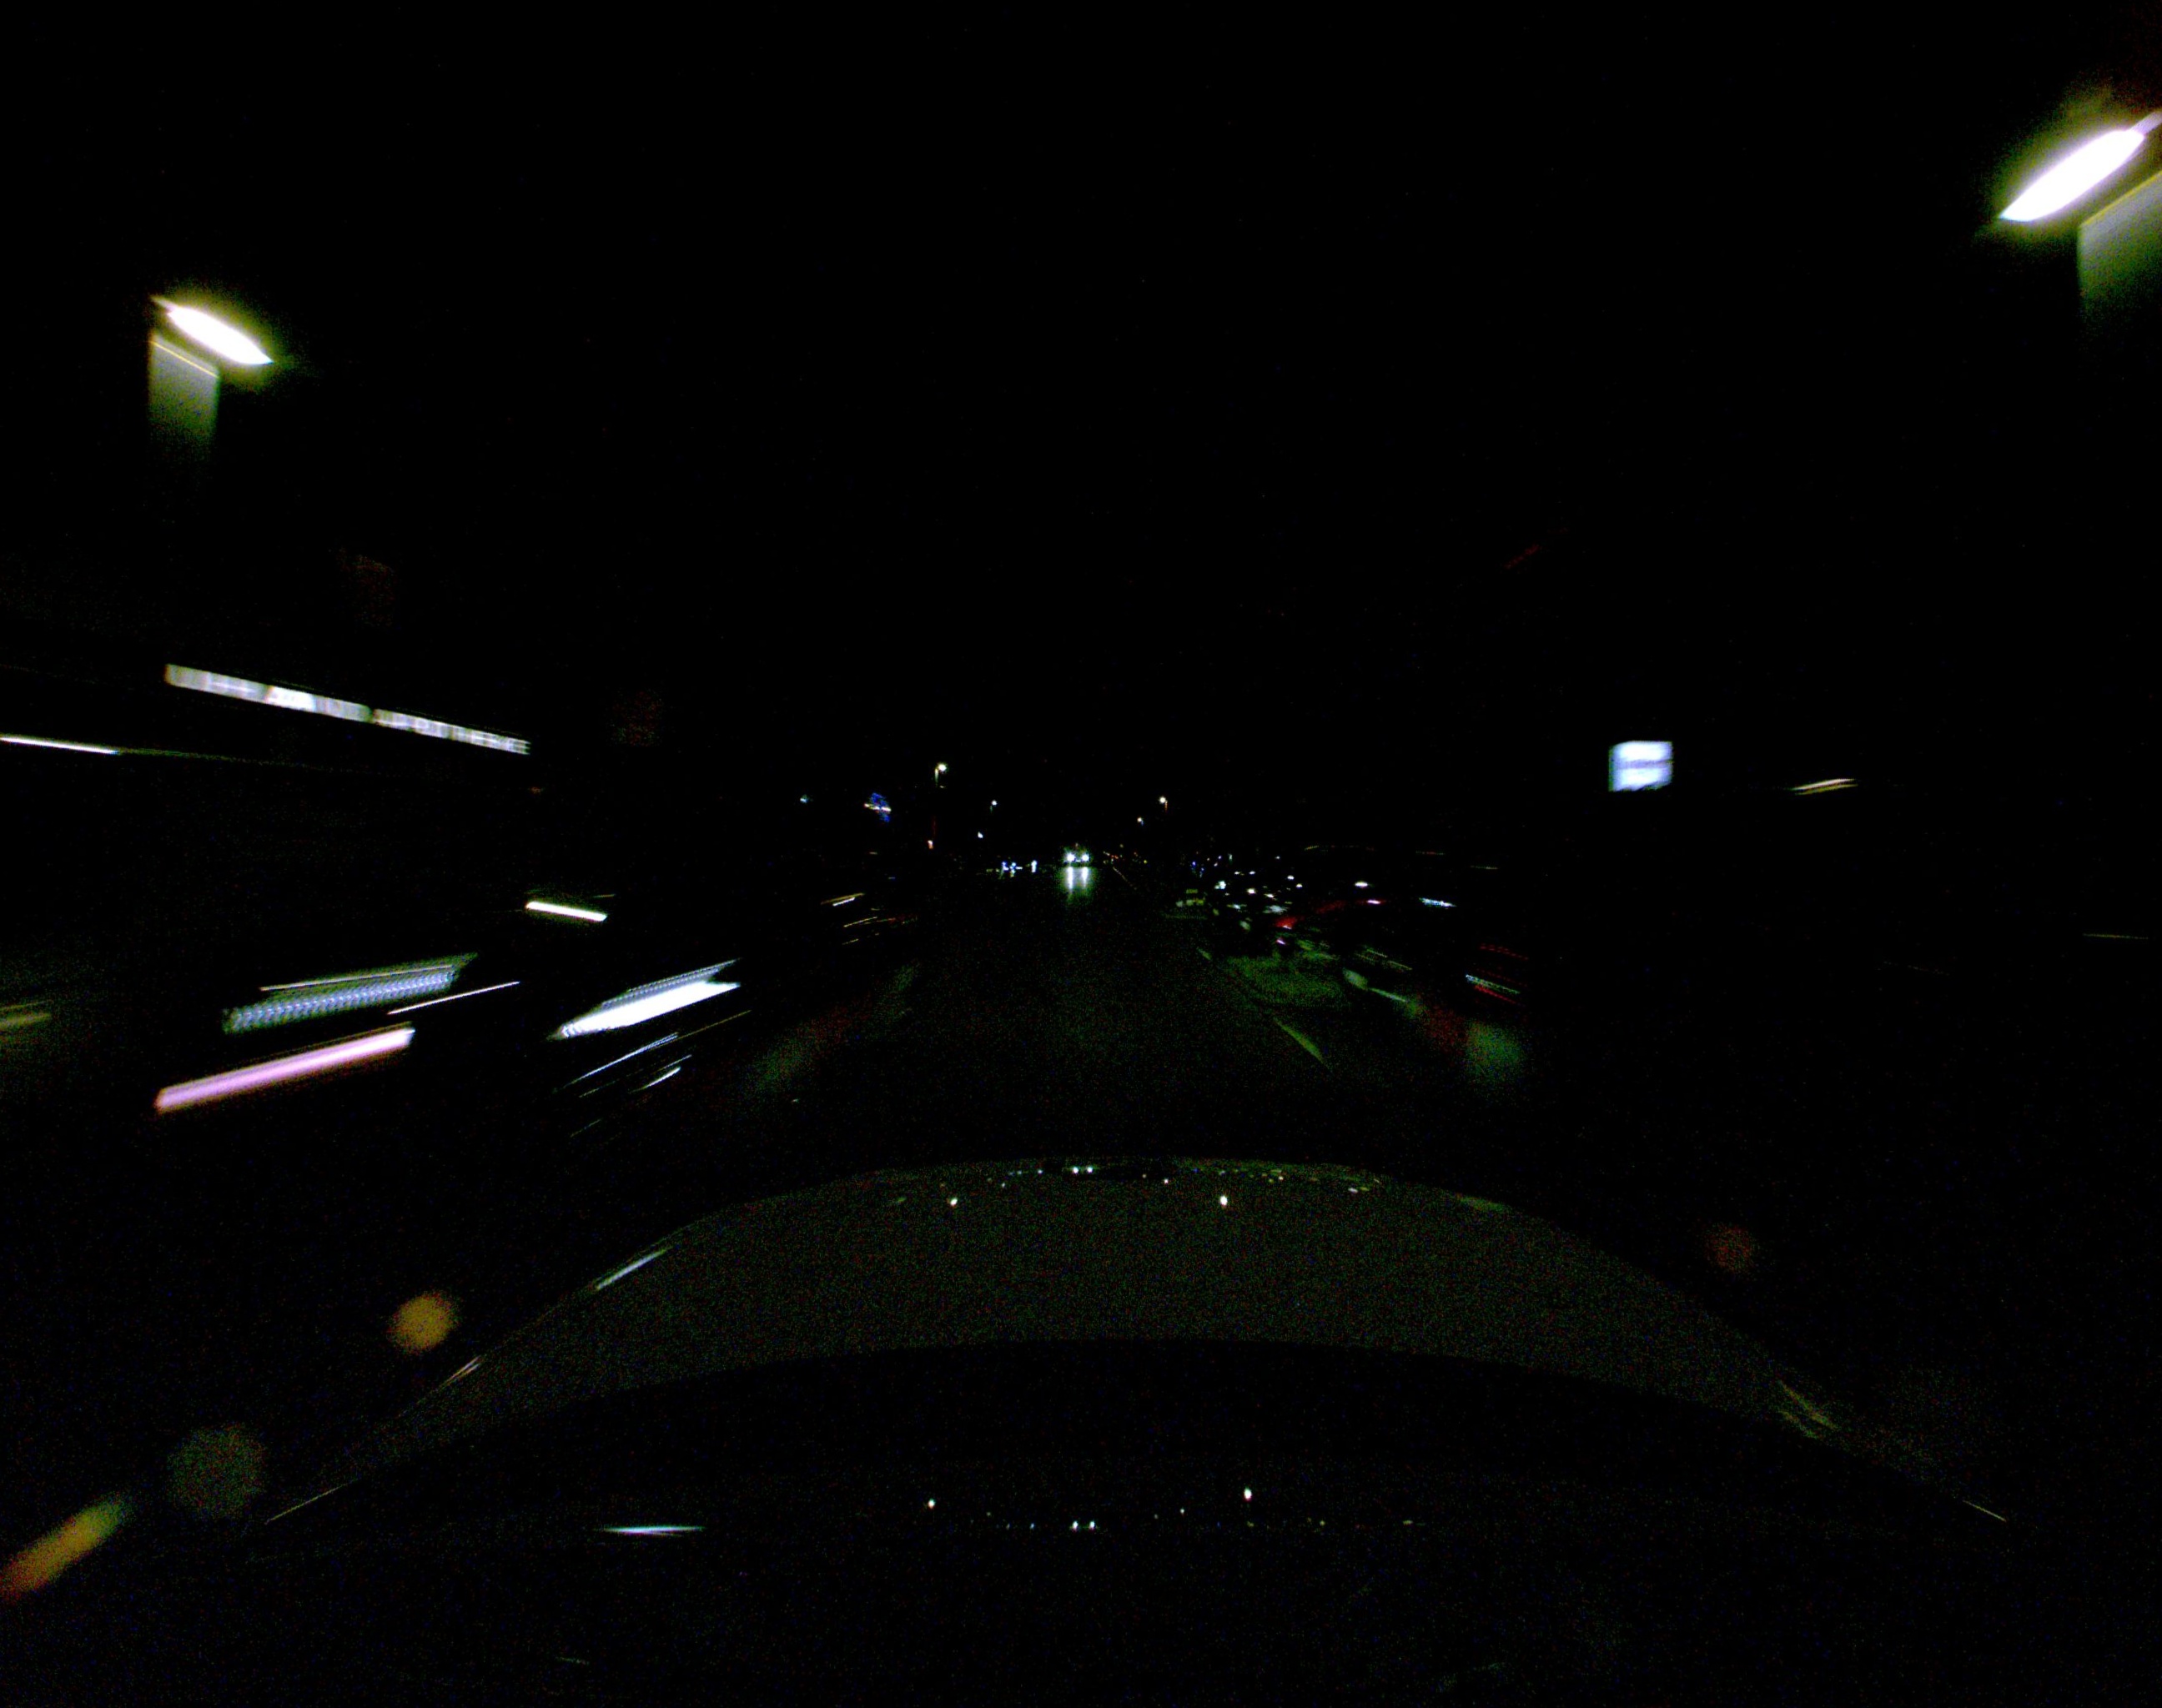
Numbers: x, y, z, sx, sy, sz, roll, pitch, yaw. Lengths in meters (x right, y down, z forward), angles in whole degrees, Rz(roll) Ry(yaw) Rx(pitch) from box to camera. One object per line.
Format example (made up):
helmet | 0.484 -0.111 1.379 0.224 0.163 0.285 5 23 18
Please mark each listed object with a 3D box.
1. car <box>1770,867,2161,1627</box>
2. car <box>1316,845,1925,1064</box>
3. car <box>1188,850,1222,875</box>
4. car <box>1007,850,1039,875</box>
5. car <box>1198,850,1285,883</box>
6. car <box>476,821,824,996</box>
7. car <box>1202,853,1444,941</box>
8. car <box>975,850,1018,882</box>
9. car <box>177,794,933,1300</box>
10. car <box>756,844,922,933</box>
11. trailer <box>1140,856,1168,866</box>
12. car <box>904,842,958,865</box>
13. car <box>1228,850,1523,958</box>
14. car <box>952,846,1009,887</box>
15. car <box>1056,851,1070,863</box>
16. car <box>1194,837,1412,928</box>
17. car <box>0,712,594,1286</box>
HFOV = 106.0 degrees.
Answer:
car | 4.235 0.764 1.435 4.381 1.419 1.936 0 0 2
car | 4.191 0.713 6.976 3.897 1.551 1.990 0 0 5
car | 8.084 0.513 53.339 1.634 1.560 3.678 1 0 0
car | -3.671 0.498 52.107 1.743 1.468 4.008 2 0 0
car | 7.691 0.584 39.259 3.891 1.486 1.833 0 0 0
car | -4.949 0.530 10.207 2.109 1.670 4.168 2 0 -1
car | 4.341 0.744 15.008 3.906 1.514 1.853 0 0 -3
car | -4.317 0.580 42.056 1.765 1.468 3.966 2 0 0
car | -2.174 0.643 4.770 1.713 1.715 3.963 0 0 2
car | -4.821 0.614 17.021 2.109 1.548 4.475 2 0 -1
trailer | 9.342 0.881 104.173 3.420 1.002 1.954 4 0 0
car | -11.699 -0.043 63.653 3.982 1.703 1.944 -1 0 -7
car | 4.368 0.726 12.536 3.903 1.514 1.854 0 -1 0
car | -4.438 0.500 36.463 1.922 1.636 4.470 2 0 0
car | -2.442 0.390 112.002 1.665 1.591 3.990 2 0 3
car | 4.664 0.572 17.715 4.332 1.816 2.035 0 0 6
car | -4.688 0.432 3.553 2.109 1.946 4.886 3 0 -1
